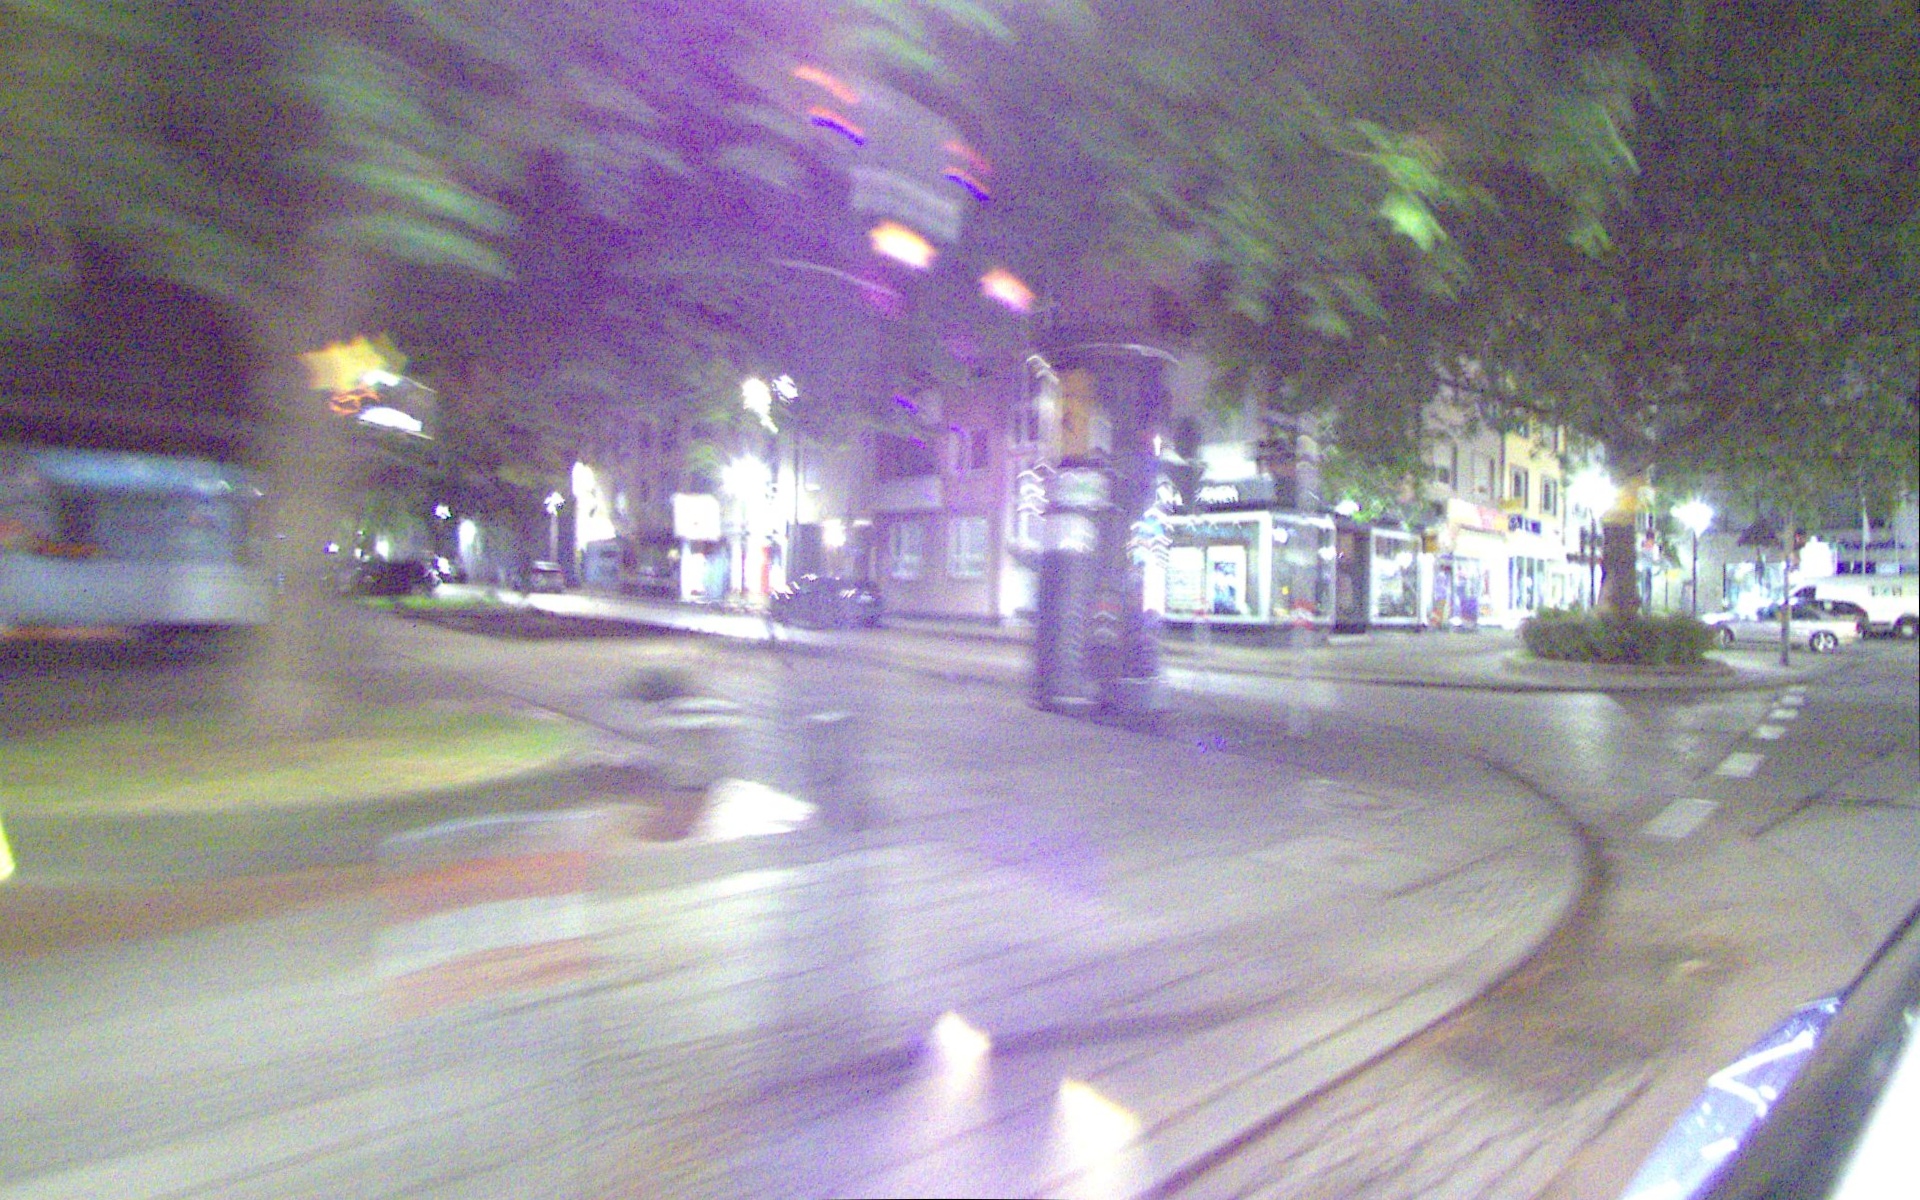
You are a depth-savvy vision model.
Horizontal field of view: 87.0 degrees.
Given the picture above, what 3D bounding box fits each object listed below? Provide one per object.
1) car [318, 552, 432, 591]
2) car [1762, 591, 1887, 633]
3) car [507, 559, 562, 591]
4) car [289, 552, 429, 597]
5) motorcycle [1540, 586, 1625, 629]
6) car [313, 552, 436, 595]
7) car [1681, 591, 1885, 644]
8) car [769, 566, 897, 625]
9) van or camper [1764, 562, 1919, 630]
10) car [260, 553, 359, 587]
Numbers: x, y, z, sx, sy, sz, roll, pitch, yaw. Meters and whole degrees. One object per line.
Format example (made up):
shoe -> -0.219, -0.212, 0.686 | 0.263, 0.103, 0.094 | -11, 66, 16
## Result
car -> -23.550, -1.107, 40.805 | 3.729, 1.498, 1.749 | 0, 0, -42
car -> 32.391, 0.425, 38.024 | 3.142, 1.474, 1.682 | 1, 1, 22
car -> -21.592, -1.273, 51.286 | 1.623, 1.518, 3.519 | 2, 1, -40
car -> -20.830, -0.851, 35.164 | 3.932, 1.498, 1.749 | 0, 0, -42
motorcycle -> 19.220, 0.221, 31.289 | 2.184, 1.286, 0.531 | 1, 0, 7
car -> -21.788, -0.956, 37.721 | 3.729, 1.498, 1.749 | 0, 0, -42
car -> 24.814, 0.489, 30.682 | 4.481, 1.474, 1.630 | 1, 1, 15
car -> -3.881, -0.162, 30.490 | 1.867, 1.609, 3.994 | 2, 1, -41
van or camper -> 35.530, -0.165, 39.567 | 5.974, 2.565, 2.149 | 1, 0, 19
car -> -30.898, -1.404, 48.110 | 3.729, 1.498, 1.749 | 0, 0, -42
